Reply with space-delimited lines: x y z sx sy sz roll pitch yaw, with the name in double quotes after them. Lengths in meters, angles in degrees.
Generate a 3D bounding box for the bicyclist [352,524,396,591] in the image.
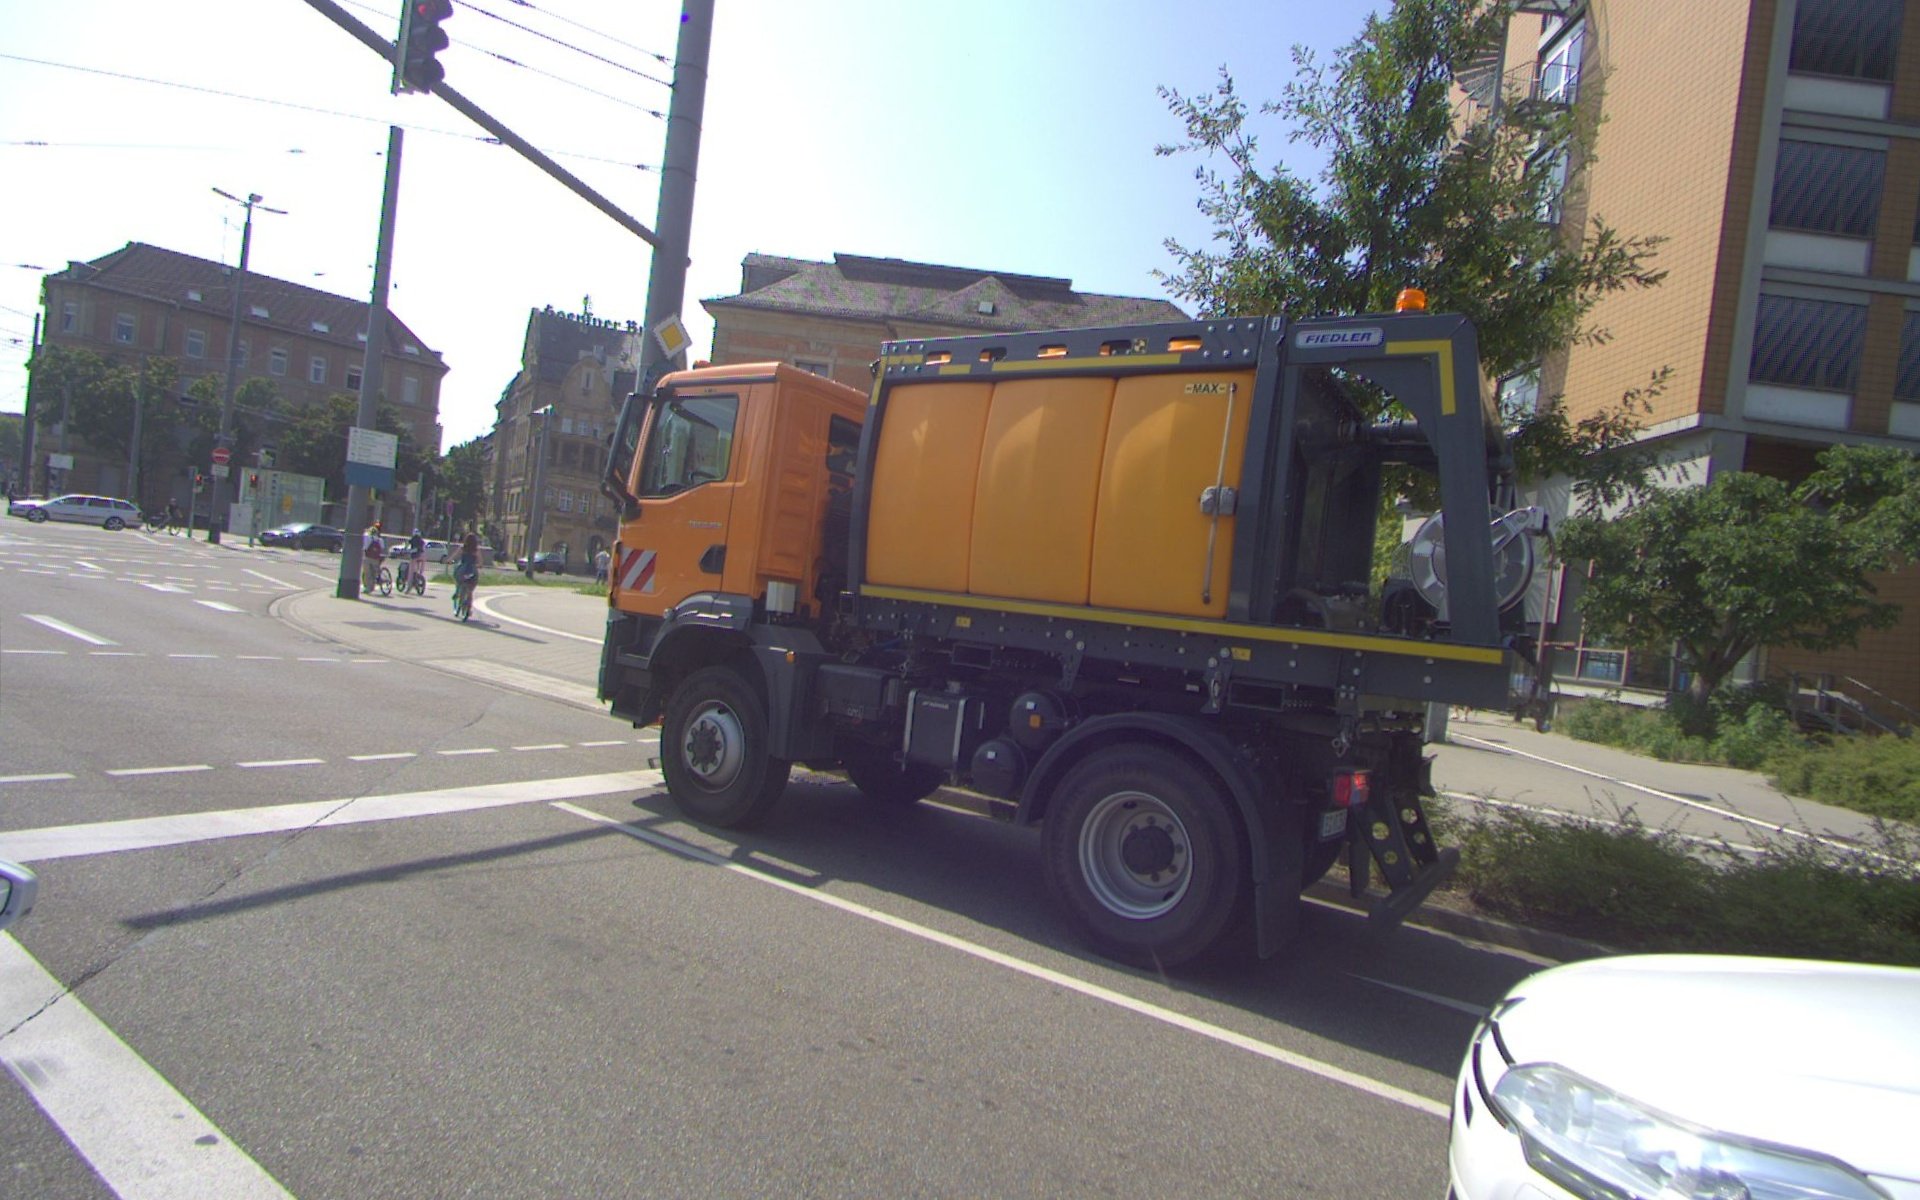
-14.300 -1.046 24.547 0.702 1.537 0.626 7 1 44 "bicyclist"

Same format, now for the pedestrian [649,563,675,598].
-12.863 -0.822 43.436 0.679 1.417 0.767 7 1 7 "pedestrian"

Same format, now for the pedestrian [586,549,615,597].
-13.944 -1.047 39.018 0.808 1.746 0.546 6 1 -9 "pedestrian"

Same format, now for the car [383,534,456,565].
-33.541 -3.096 62.544 1.742 1.433 4.203 7 0 7 "car"

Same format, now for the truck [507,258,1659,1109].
0.286 0.112 6.655 6.751 3.171 2.496 7 -2 34 "truck"

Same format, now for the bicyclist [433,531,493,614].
-9.876 -0.542 19.991 0.653 1.537 0.734 7 1 36 "bicyclist"

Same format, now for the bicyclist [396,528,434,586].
-14.235 -1.117 26.267 0.882 1.410 0.529 7 1 44 "bicyclist"

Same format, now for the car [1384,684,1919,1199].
3.071 1.146 1.207 4.533 1.446 1.771 7 0 32 "car"

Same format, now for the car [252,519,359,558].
-34.192 -3.180 52.734 1.742 1.433 4.771 7 0 13 "car"

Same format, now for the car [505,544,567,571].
-32.221 -3.192 76.620 1.962 1.523 4.628 7 0 11 "car"

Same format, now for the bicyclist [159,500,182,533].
-39.806 -4.223 50.735 0.511 1.548 0.613 7 1 8 "bicyclist"

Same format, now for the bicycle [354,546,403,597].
-14.094 -0.702 24.373 1.632 1.068 0.535 7 1 45 "bicycle"

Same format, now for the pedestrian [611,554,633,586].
-13.871 -1.222 41.252 0.660 1.229 0.523 6 1 -30 "pedestrian"

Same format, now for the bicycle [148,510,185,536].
-40.033 -3.885 50.766 1.622 1.068 0.471 7 1 11 "bicycle"

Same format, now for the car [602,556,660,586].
-29.328 -2.586 89.830 1.967 2.038 4.615 7 0 32 "car"

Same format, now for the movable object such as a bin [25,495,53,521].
-44.614 -4.448 48.723 0.502 1.091 0.815 7 1 21 "movable object such as a bin"

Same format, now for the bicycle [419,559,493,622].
-10.081 -0.201 20.099 1.795 1.068 0.492 7 1 37 "bicycle"

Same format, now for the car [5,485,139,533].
-39.131 -4.010 44.401 1.750 1.433 4.170 7 0 40 "car"

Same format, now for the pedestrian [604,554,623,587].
-17.863 -1.526 51.852 0.727 1.595 0.787 6 1 -14 "pedestrian"

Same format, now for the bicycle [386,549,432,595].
-14.539 -0.753 26.517 1.632 1.068 0.535 7 1 45 "bicycle"

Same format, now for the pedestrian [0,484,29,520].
-45.272 -4.691 48.102 0.519 1.564 0.852 7 1 24 "pedestrian"
